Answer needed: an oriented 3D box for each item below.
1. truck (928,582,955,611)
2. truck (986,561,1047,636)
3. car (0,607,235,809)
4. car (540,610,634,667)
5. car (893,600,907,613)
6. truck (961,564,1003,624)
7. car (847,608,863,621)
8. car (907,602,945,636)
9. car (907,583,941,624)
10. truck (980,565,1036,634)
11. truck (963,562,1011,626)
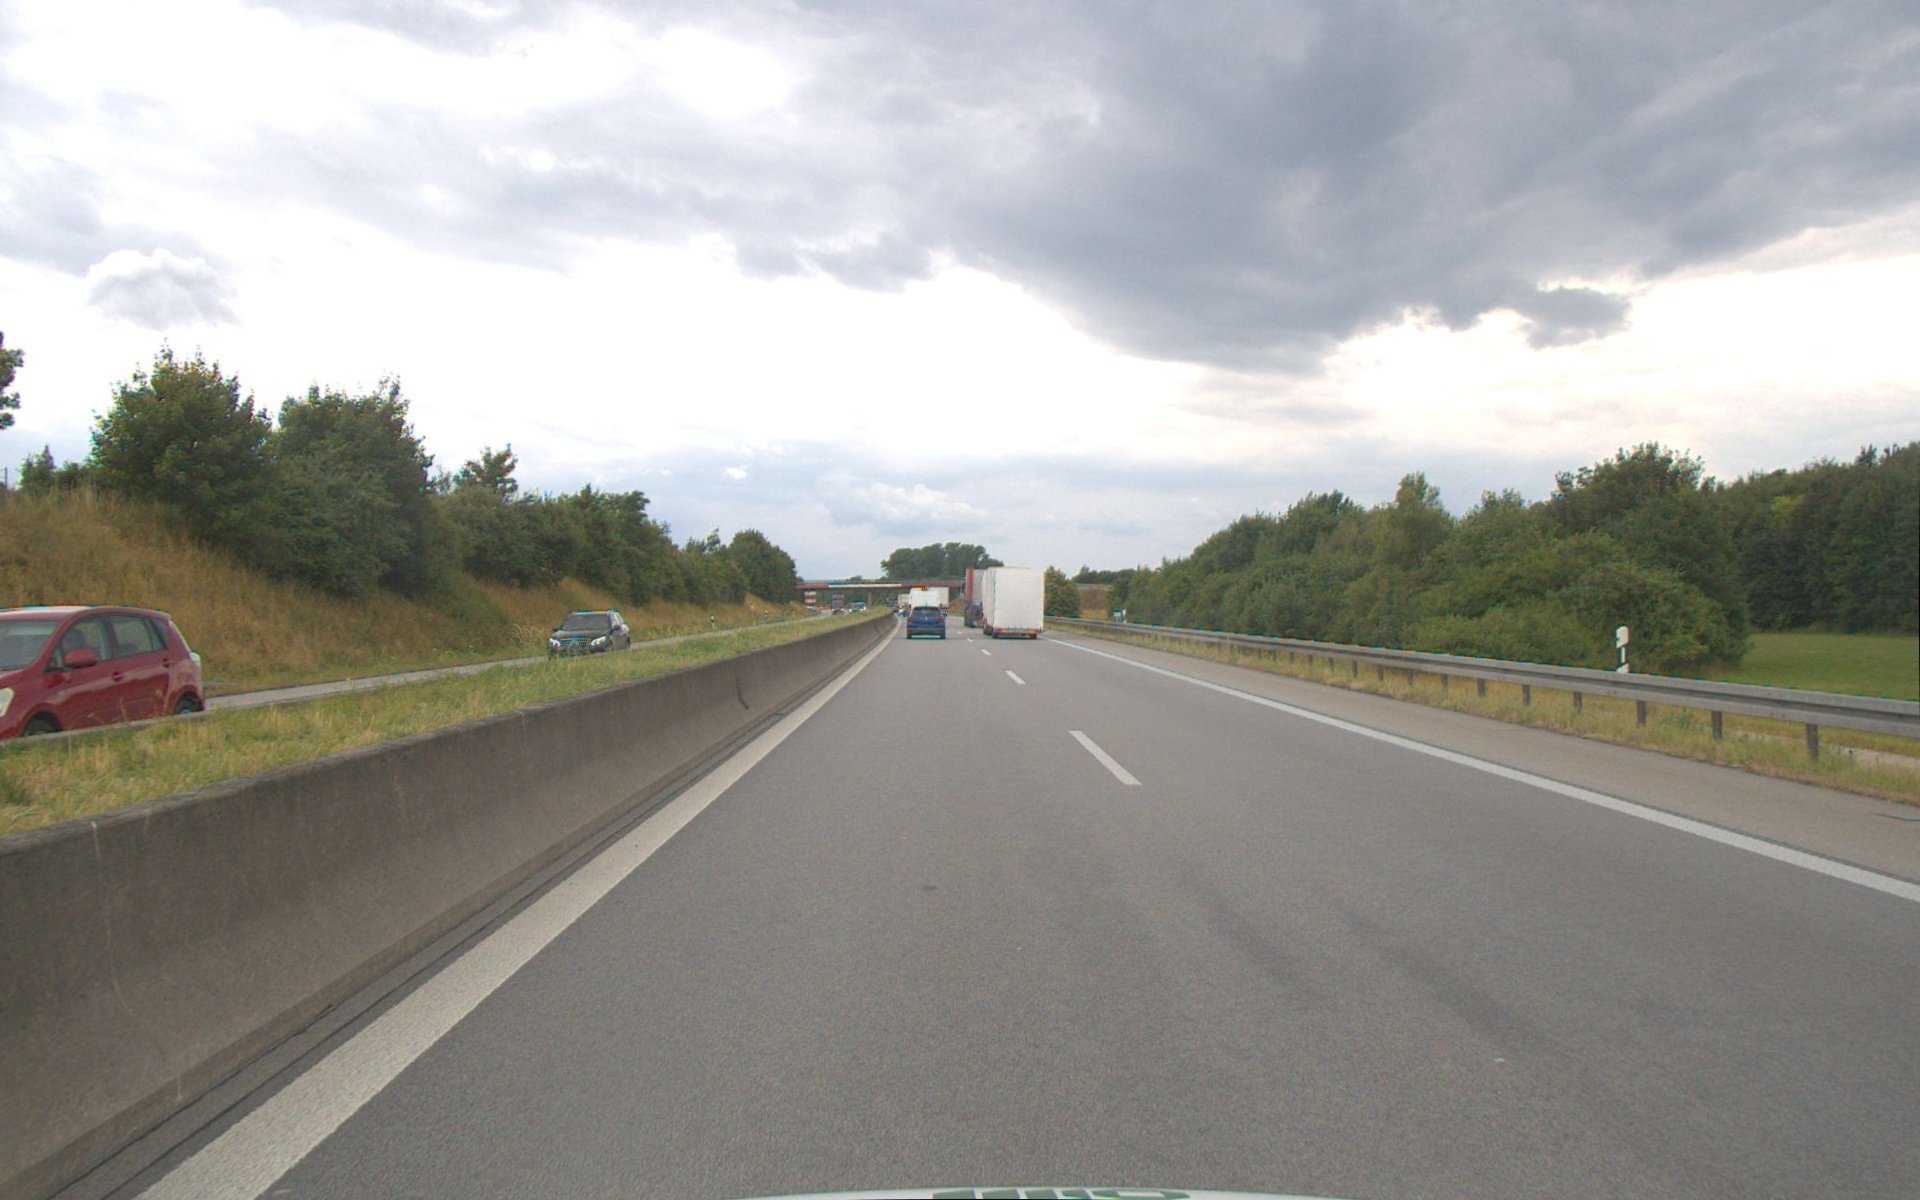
[{"bbox_3d":[-2.539,-0.386,224.258,3.049,3.754,9.316,-2,0,-3],"label":"truck"},{"bbox_3d":[2.507,-0.052,75.613,2.366,3.279,7.141,0,0,-1],"label":"truck"},{"bbox_3d":[-8.647,0.908,15.485,1.808,1.599,4.360,-2,0,-1],"label":"car"},{"bbox_3d":[-11.206,1.133,50.006,1.808,1.523,4.579,-3,0,-1],"label":"car"},{"bbox_3d":[-8.458,0.910,233.063,1.954,1.713,3.997,0,0,-4],"label":"car"},{"bbox_3d":[1.521,-0.426,117.124,2.619,4.116,5.510,-1,0,-2],"label":"truck"},{"bbox_3d":[-13.929,1.924,219.584,1.880,1.723,4.595,-2,0,-2],"label":"car"},{"bbox_3d":[-1.472,0.806,72.017,1.630,1.432,3.647,0,0,-1],"label":"car"},{"bbox_3d":[-2.362,0.221,106.466,2.087,2.526,5.836,0,0,-2],"label":"car"},{"bbox_3d":[2.331,-0.010,82.800,2.380,3.300,7.244,0,0,-2],"label":"truck"},{"bbox_3d":[1.736,-0.402,111.767,2.619,4.116,11.102,-1,0,-2],"label":"truck"}]
